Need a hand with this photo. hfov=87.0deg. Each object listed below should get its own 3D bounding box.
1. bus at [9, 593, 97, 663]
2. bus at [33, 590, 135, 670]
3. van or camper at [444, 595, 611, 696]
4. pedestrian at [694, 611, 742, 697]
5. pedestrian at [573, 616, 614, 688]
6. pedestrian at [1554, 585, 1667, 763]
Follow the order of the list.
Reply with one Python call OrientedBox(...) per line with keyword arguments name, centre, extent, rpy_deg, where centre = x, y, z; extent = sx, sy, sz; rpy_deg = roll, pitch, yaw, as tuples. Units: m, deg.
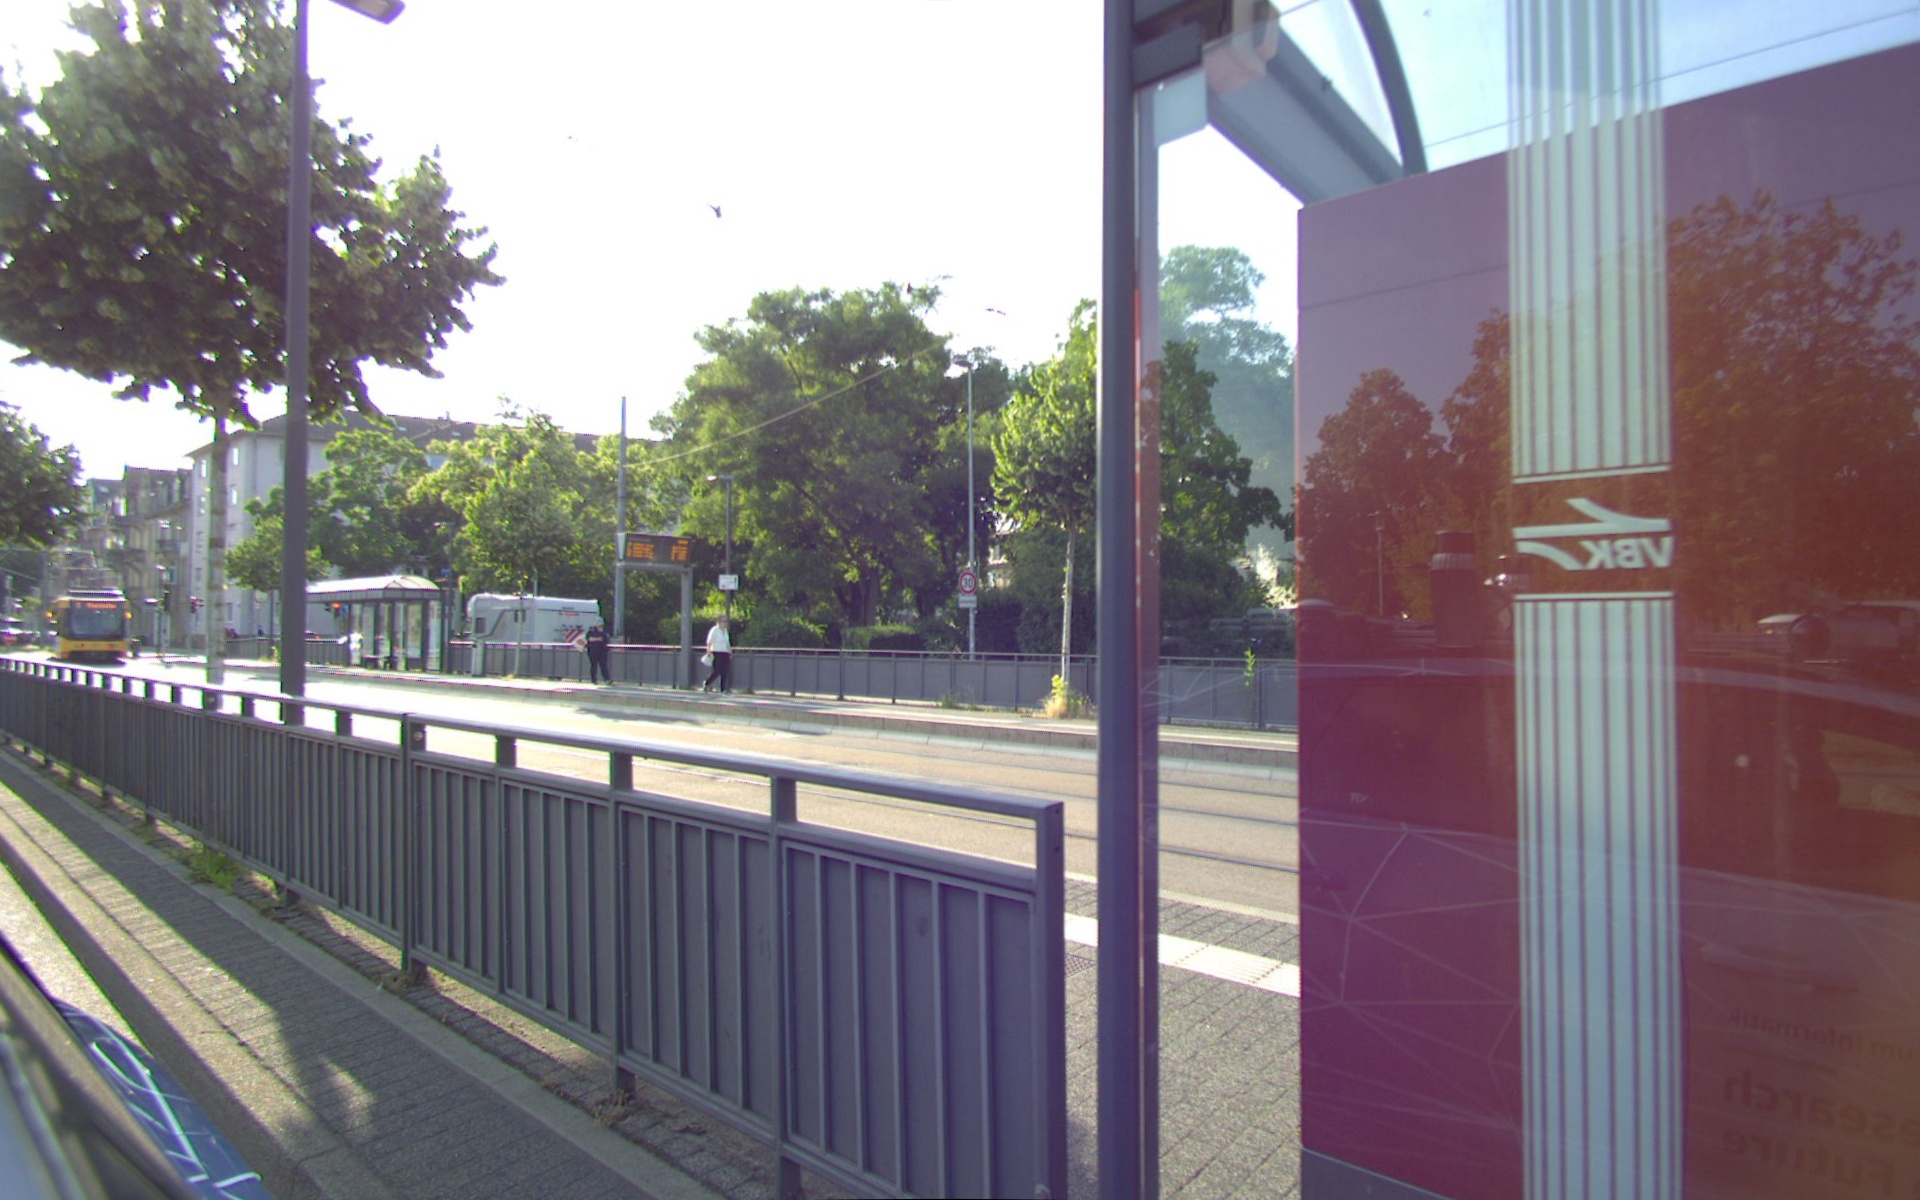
OrientedBox(name="bus", centre=(-48.359, 1.414, 53.848), extent=(9.257, 3.461, 2.405), rpy_deg=(-1, 0, 41))
OrientedBox(name="bus", centre=(-41.407, 1.328, 47.724), extent=(9.257, 3.461, 2.405), rpy_deg=(-1, 0, 41))
OrientedBox(name="van or camper", centre=(-14.250, 1.370, 33.112), extent=(6.408, 2.990, 2.494), rpy_deg=(-1, 0, 41))
OrientedBox(name="pedestrian", centre=(-4.879, 1.093, 20.424), extent=(0.618, 1.697, 0.613), rpy_deg=(-2, -6, 41))
OrientedBox(name="pedestrian", centre=(-8.804, 1.255, 24.320), extent=(0.618, 1.697, 0.613), rpy_deg=(-2, -6, 41))
OrientedBox(name="pedestrian", centre=(6.524, 0.736, 10.168), extent=(0.877, 1.697, 0.547), rpy_deg=(-2, -6, 41))
